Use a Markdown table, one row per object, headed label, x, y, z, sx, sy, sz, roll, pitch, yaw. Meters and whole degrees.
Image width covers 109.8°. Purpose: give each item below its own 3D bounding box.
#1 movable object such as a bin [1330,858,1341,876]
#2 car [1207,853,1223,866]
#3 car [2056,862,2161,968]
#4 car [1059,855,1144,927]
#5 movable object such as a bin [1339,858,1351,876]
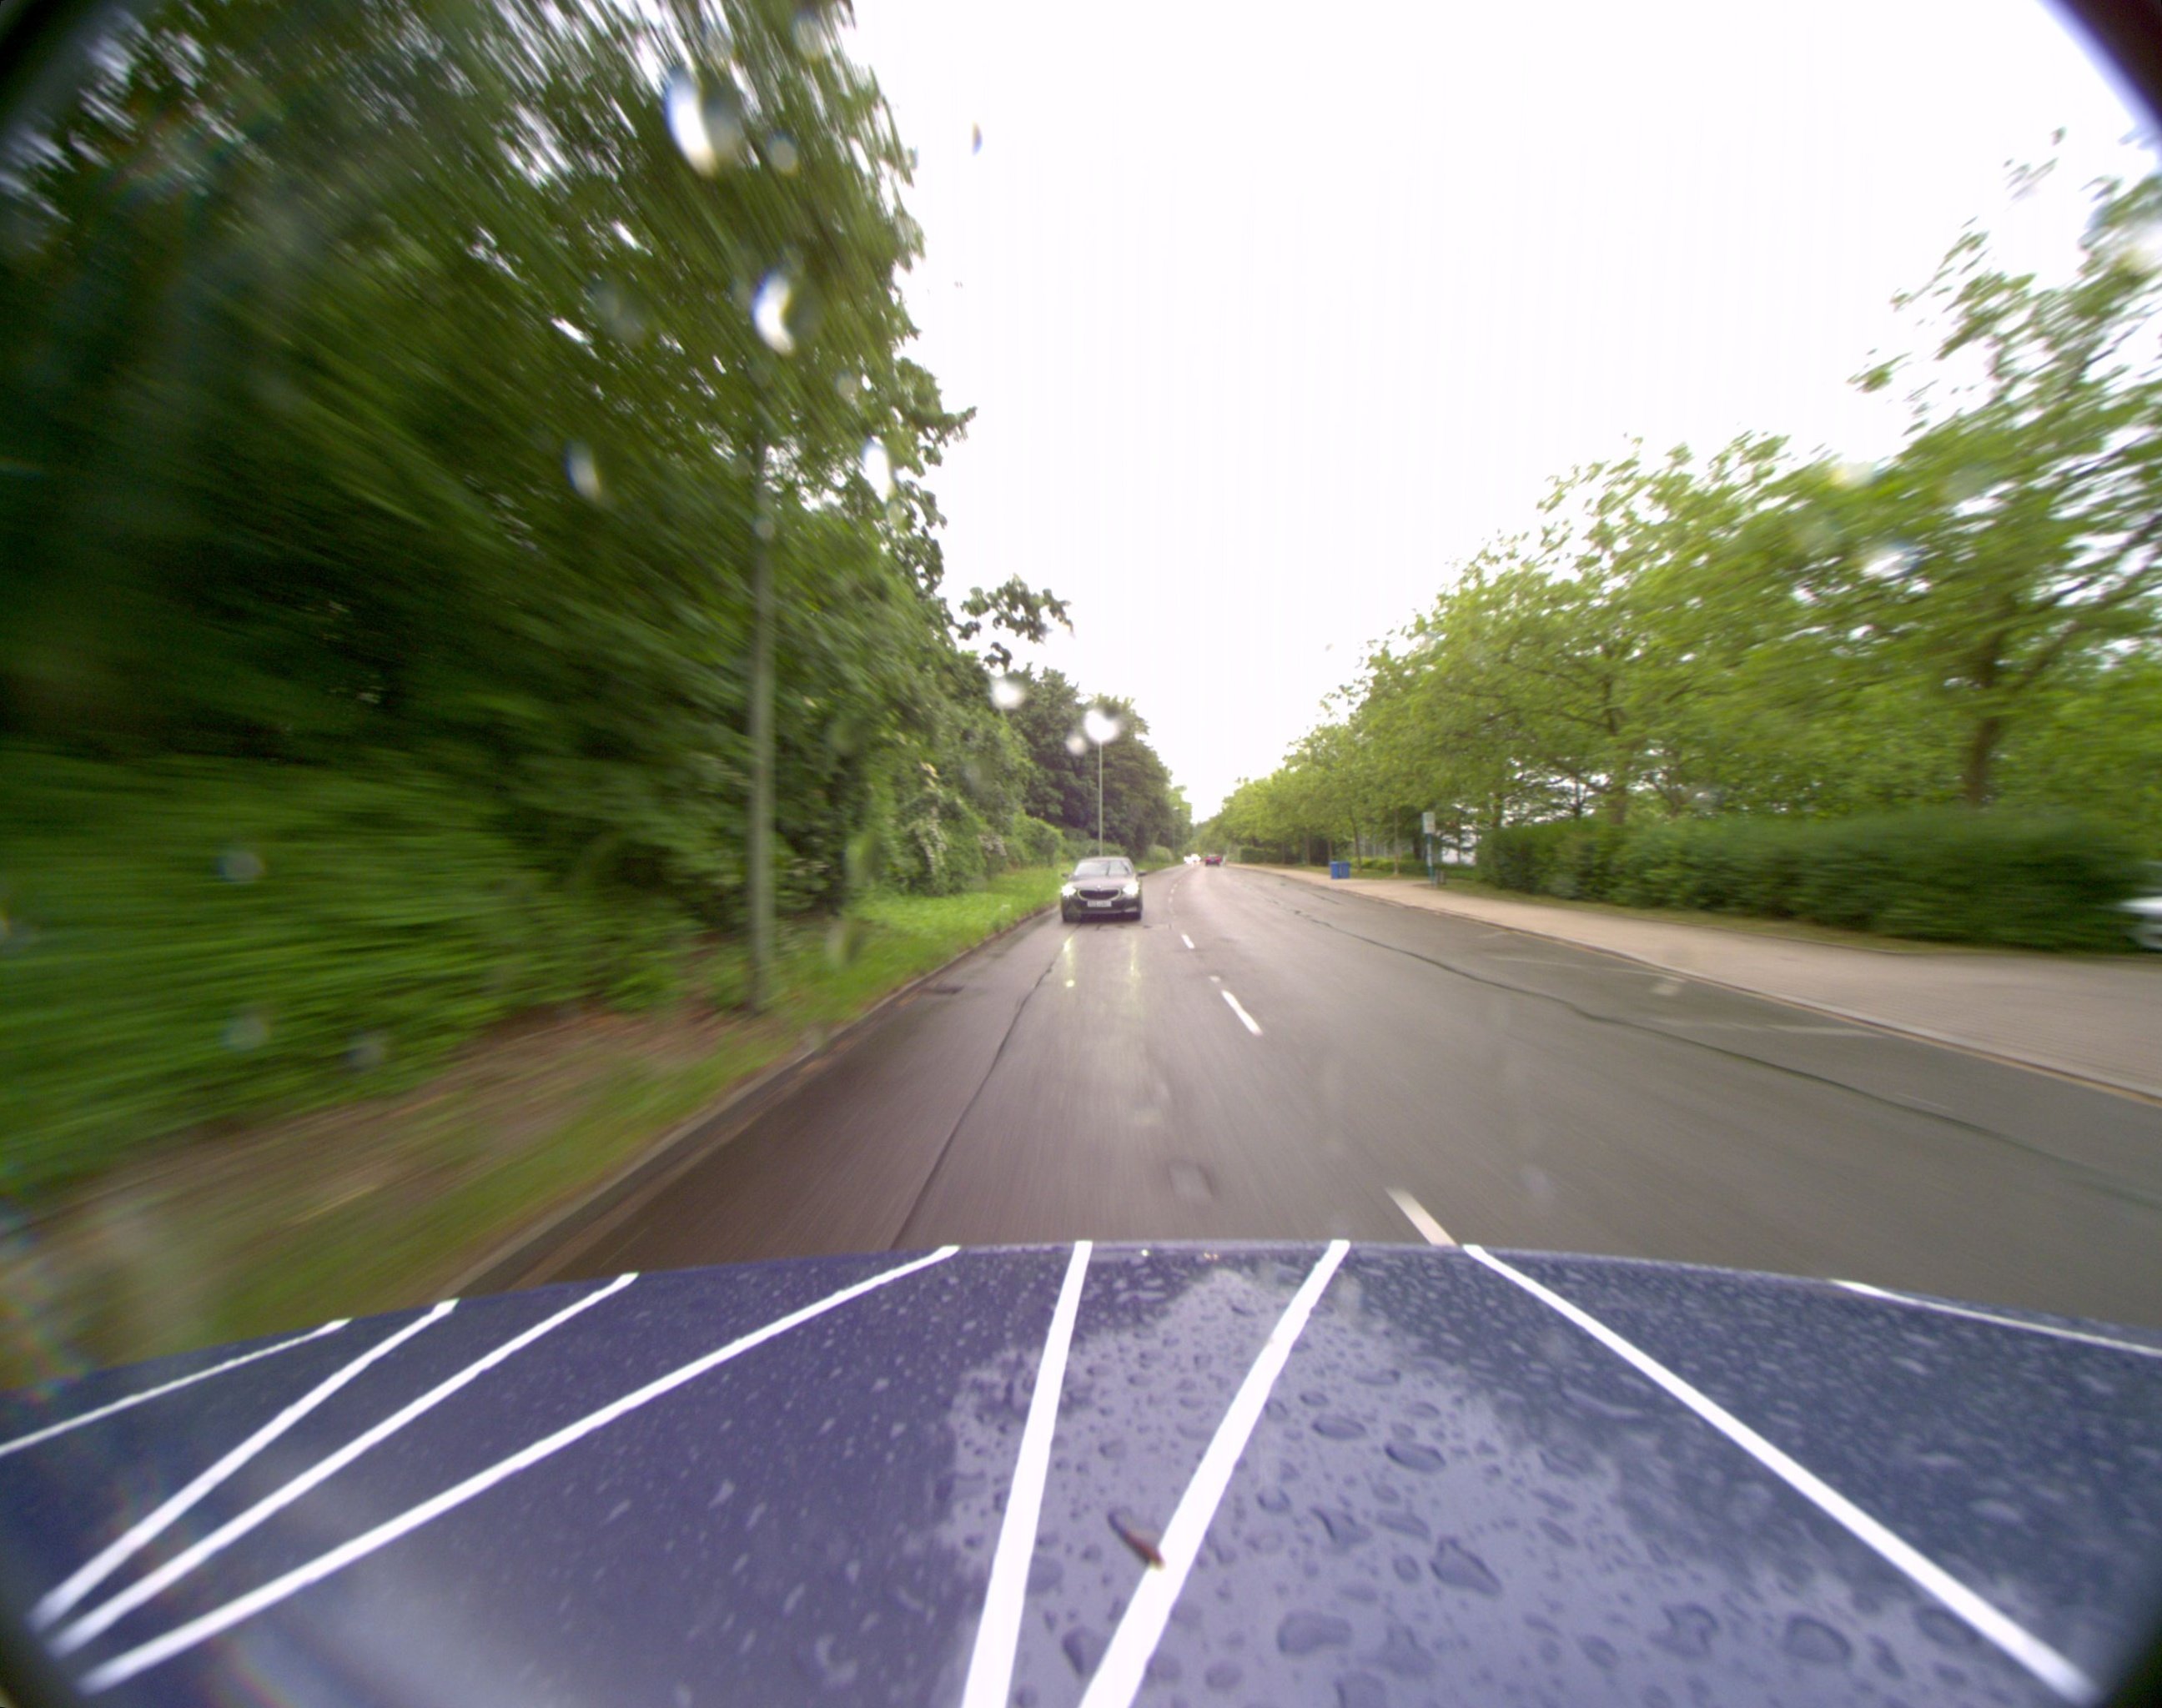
| label | x | y | z | sx | sy | sz | roll | pitch | yaw |
| --- | --- | --- | --- | --- | --- | --- | --- | --- | --- |
| movable object such as a bin | 15.825 | 0.810 | 47.259 | 0.567 | 1.092 | 0.672 | -3 | 0 | 11 |
| car | 16.843 | 0.649 | 95.494 | 1.829 | 1.456 | 4.003 | 1 | 1 | 10 |
| car | 17.810 | 0.991 | 10.885 | 4.503 | 1.501 | 1.802 | 3 | 1 | 15 |
| car | 0.544 | 0.831 | 19.201 | 1.832 | 1.499 | 4.498 | -2 | 0 | 2 |
| movable object such as a bin | 16.469 | 0.793 | 47.410 | 0.567 | 1.092 | 0.672 | -3 | 0 | 11 |
